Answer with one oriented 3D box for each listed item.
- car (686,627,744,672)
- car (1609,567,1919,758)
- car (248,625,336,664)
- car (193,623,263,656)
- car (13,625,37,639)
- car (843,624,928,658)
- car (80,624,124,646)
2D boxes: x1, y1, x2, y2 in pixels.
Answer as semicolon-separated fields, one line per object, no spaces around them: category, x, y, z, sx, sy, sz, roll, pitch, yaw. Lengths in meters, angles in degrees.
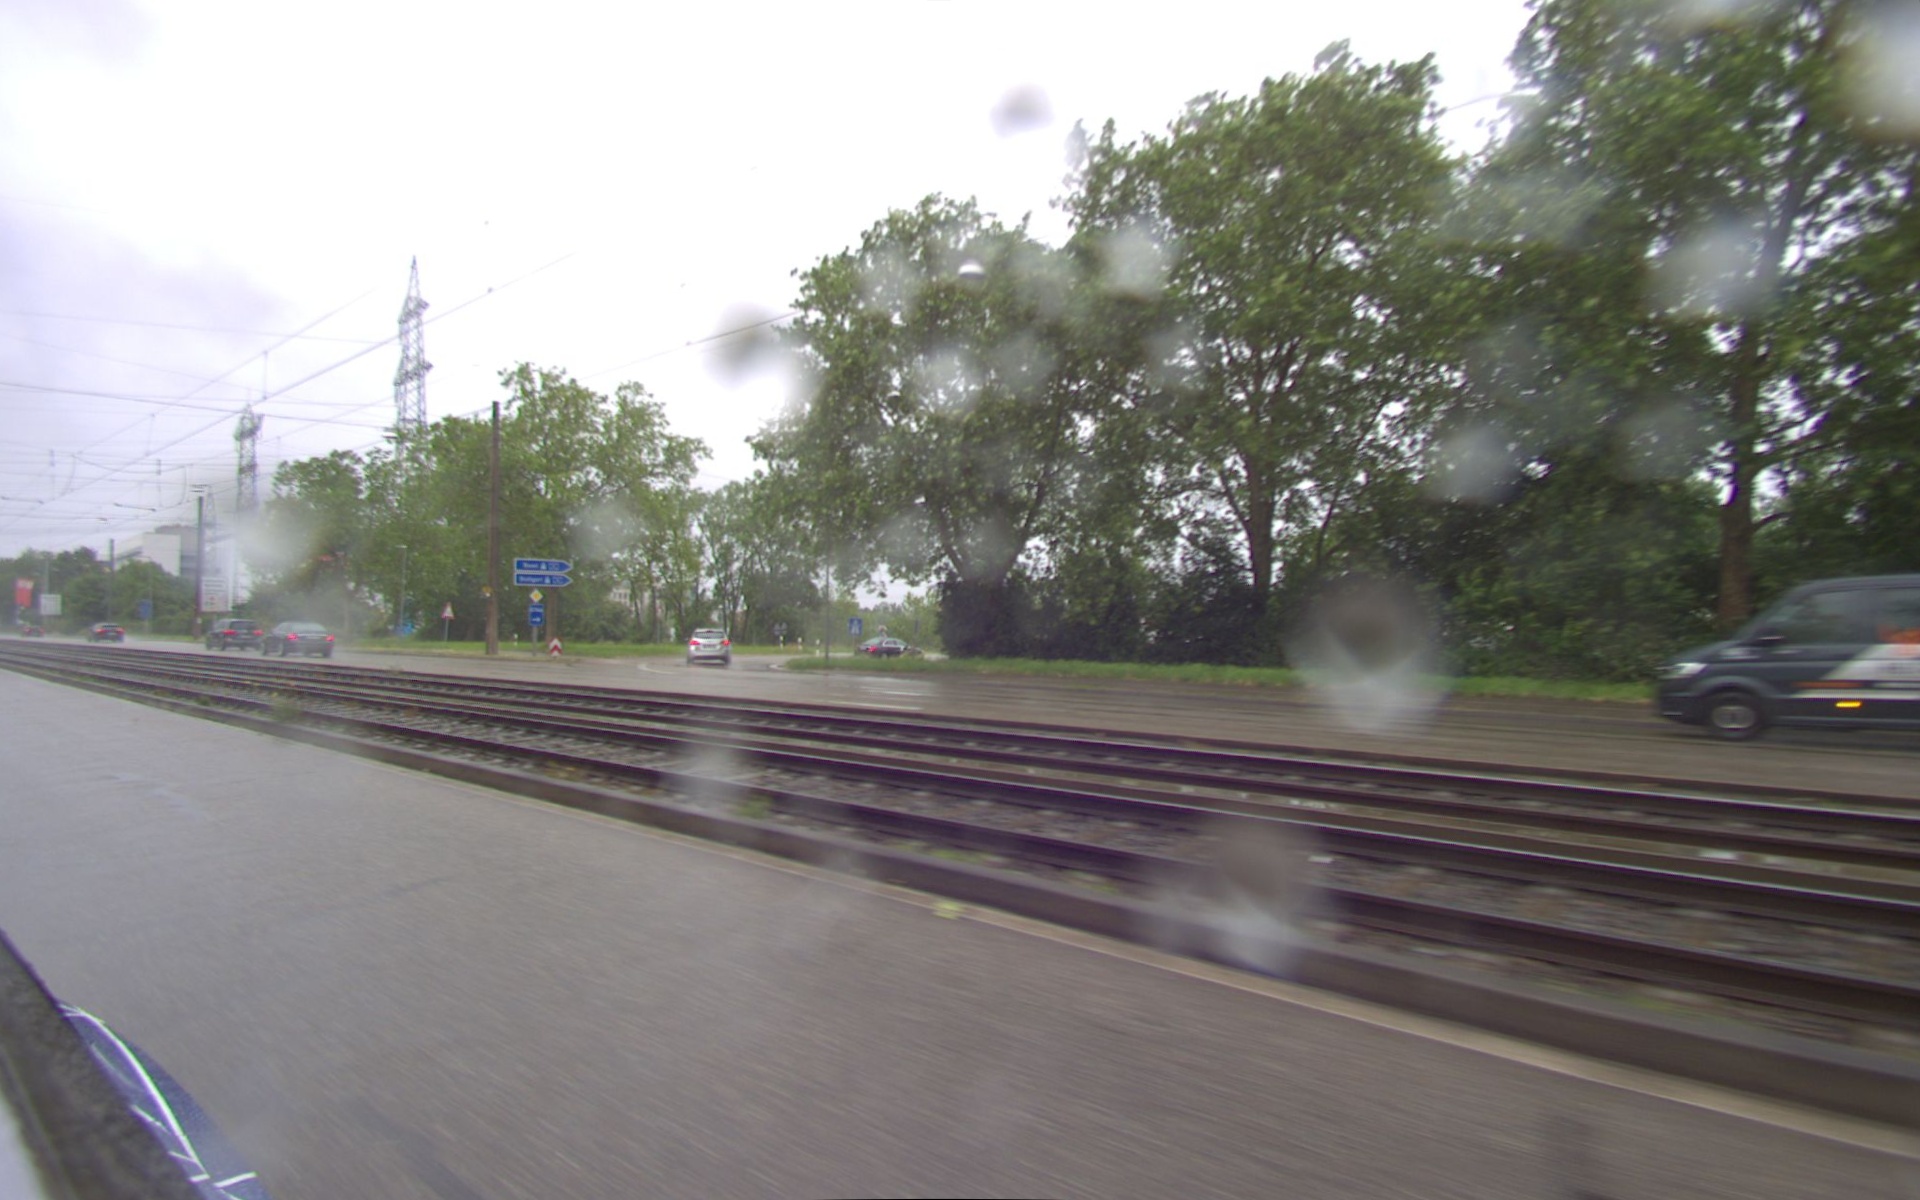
car;-10.233;2.017;42.573;1.797;1.719;5.028;-2;-1;-7
car;12.724;0.757;13.097;6.987;2.361;2.077;-3;-2;42
car;-29.380;1.961;44.433;5.678;1.597;1.757;-3;-2;41
car;-40.725;2.207;56.240;6.101;1.719;1.800;-3;-2;41
car;-110.412;3.826;119.517;3.997;1.564;1.671;-3;-2;41
car;-4.372;2.409;59.830;4.691;1.812;2.092;-1;-2;-42
car;-67.032;2.747;79.024;5.309;1.561;1.772;-3;-1;41
